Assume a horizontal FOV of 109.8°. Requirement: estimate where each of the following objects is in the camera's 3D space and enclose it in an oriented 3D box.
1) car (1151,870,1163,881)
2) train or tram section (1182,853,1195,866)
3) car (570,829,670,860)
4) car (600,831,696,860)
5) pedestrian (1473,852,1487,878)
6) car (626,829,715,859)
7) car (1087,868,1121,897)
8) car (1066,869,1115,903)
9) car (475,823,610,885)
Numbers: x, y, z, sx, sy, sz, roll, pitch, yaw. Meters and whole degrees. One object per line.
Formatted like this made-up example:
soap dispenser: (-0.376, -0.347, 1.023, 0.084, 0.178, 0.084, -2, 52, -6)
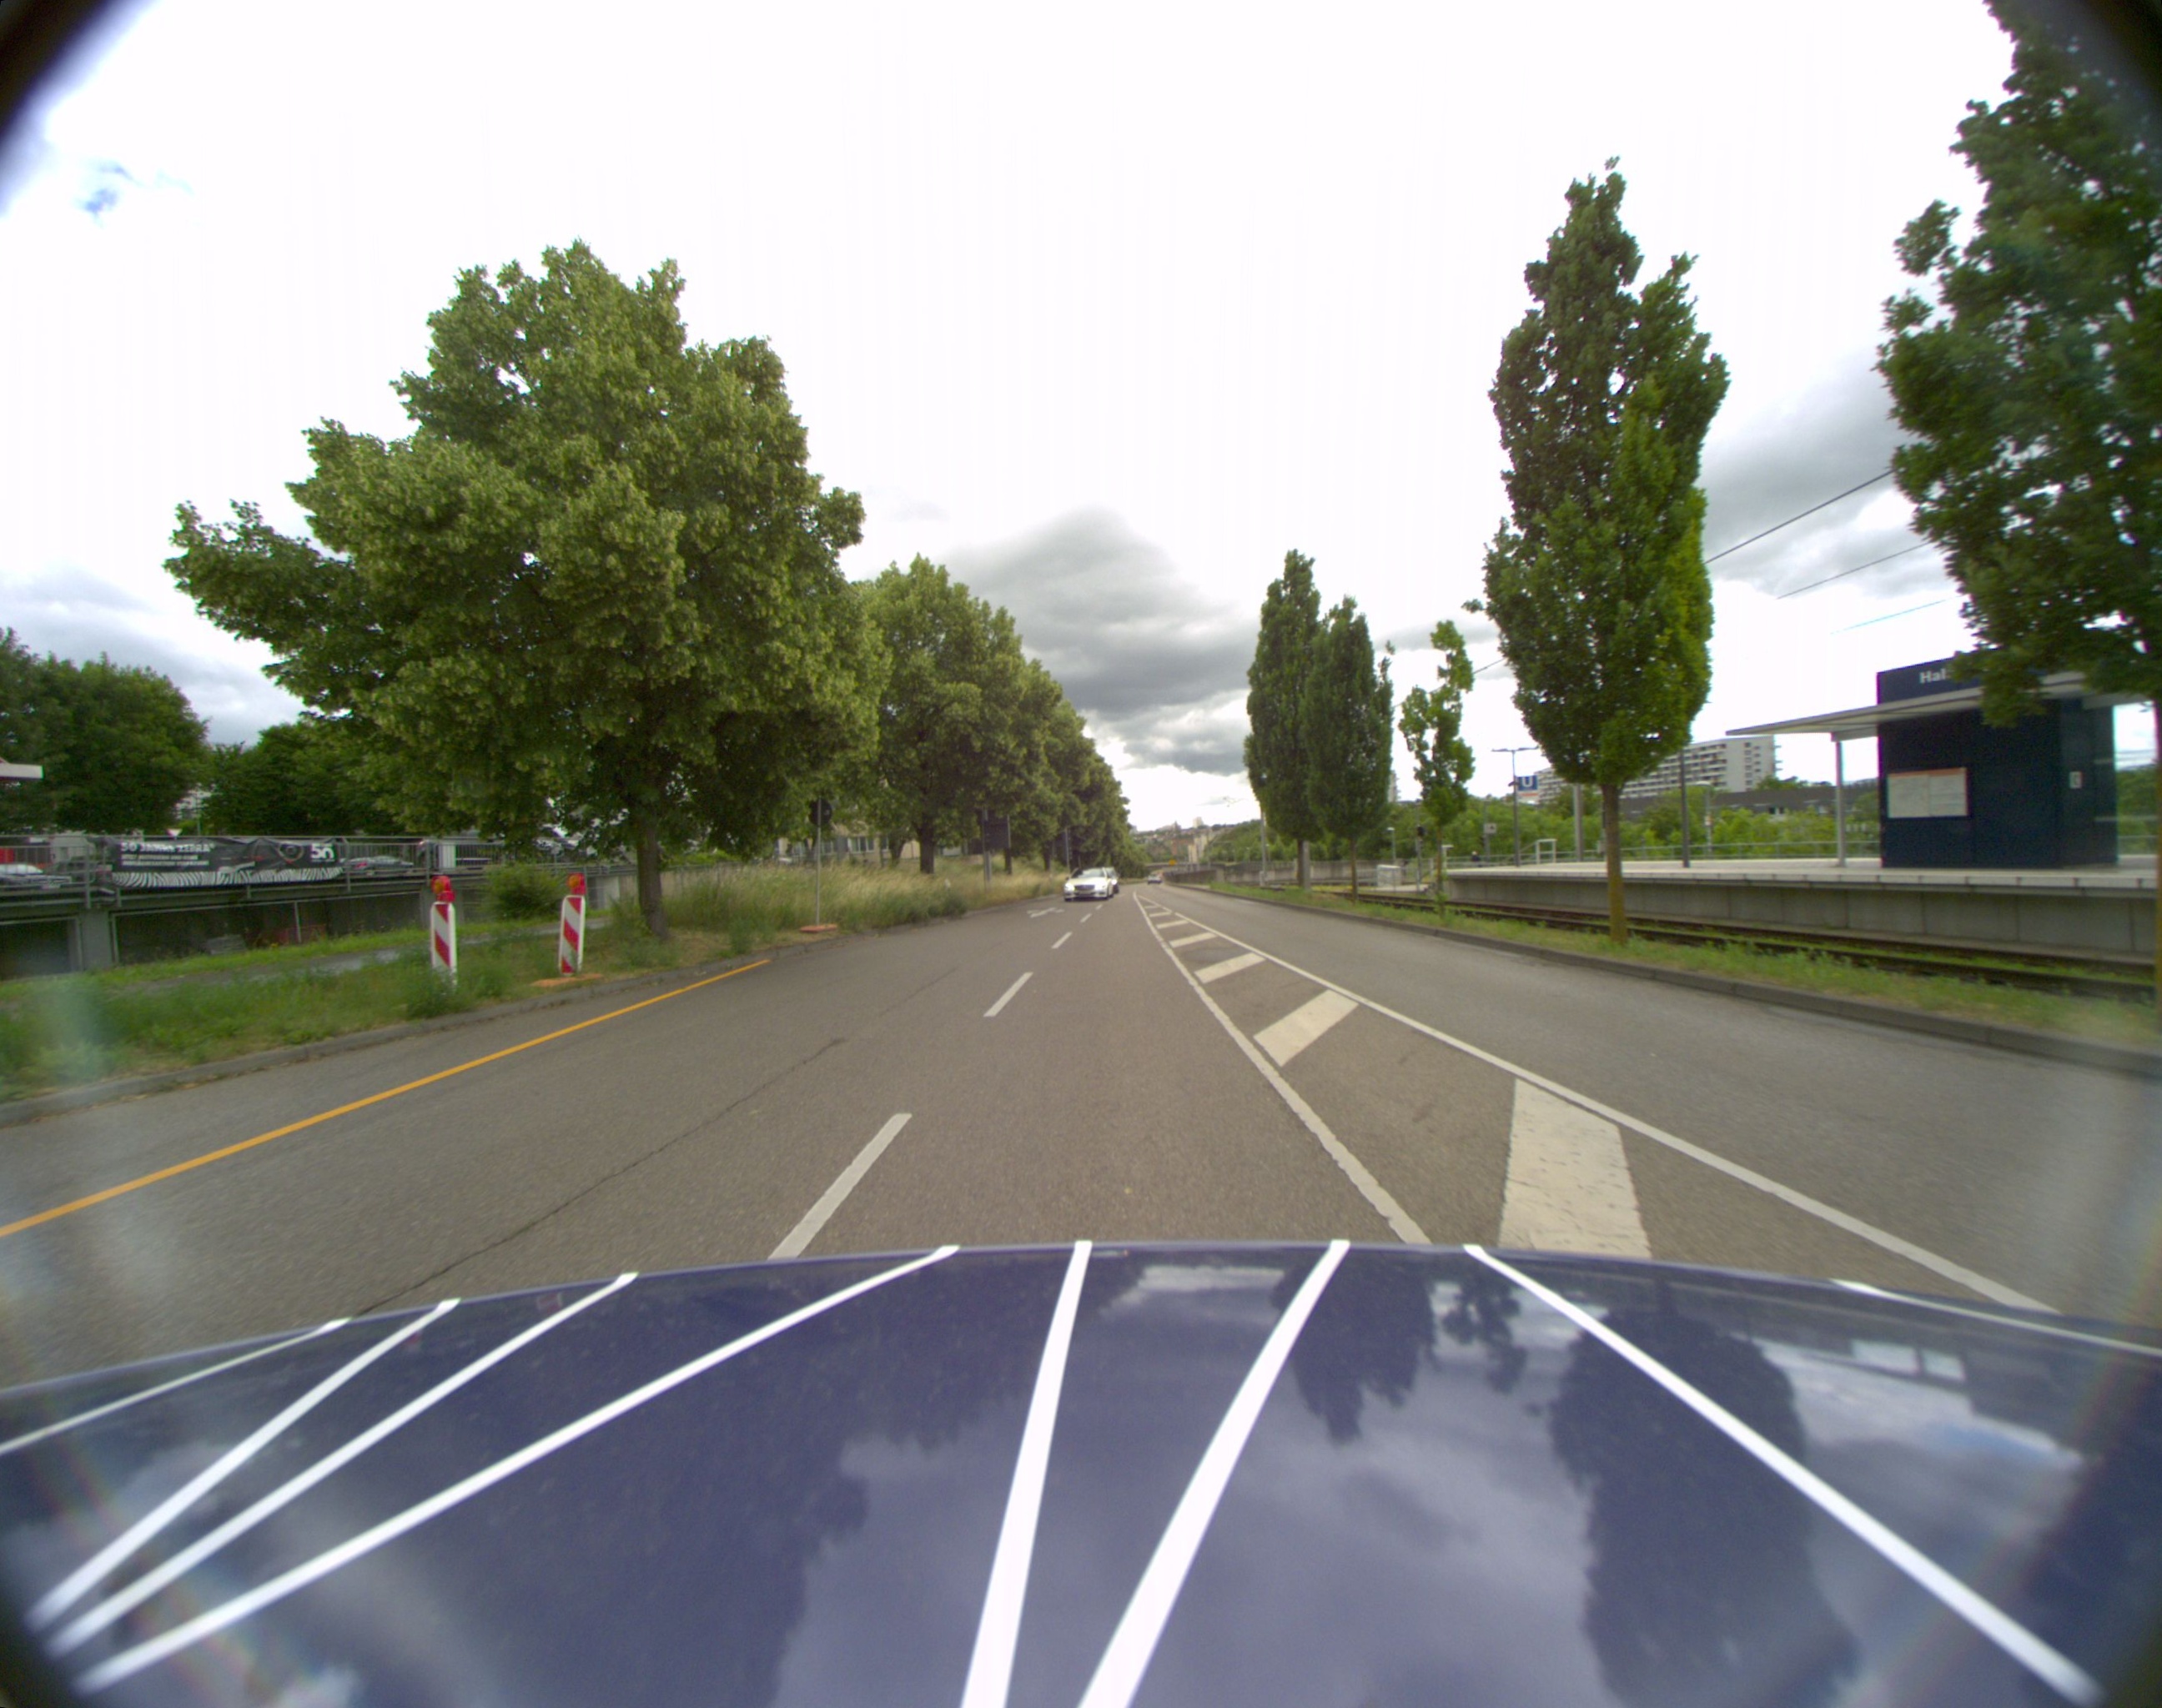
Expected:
car: (10.997, 3.094, 110.019, 1.719, 1.512, 3.746, -2, -1, 5)
train or tram section: (28.832, 1.492, 204.060, 2.786, 3.174, 18.486, -2, -1, 6)
car: (-21.952, -0.428, 36.256, 3.762, 1.356, 1.756, -1, 0, 8)
car: (-21.811, -0.398, 38.320, 3.933, 1.360, 1.756, -1, 0, 8)
pedestrian: (25.362, 0.718, 48.274, 0.508, 1.615, 0.646, -2, -1, 4)
car: (-22.213, -0.521, 41.212, 3.933, 1.474, 1.756, -1, 0, 8)
car: (1.358, 1.594, 43.572, 1.805, 1.439, 4.000, -2, 1, 3)
car: (0.484, 1.364, 33.573, 1.738, 1.365, 4.003, -2, -1, 6)
car: (-19.300, 0.025, 27.298, 3.762, 1.947, 1.644, -3, -1, 8)
